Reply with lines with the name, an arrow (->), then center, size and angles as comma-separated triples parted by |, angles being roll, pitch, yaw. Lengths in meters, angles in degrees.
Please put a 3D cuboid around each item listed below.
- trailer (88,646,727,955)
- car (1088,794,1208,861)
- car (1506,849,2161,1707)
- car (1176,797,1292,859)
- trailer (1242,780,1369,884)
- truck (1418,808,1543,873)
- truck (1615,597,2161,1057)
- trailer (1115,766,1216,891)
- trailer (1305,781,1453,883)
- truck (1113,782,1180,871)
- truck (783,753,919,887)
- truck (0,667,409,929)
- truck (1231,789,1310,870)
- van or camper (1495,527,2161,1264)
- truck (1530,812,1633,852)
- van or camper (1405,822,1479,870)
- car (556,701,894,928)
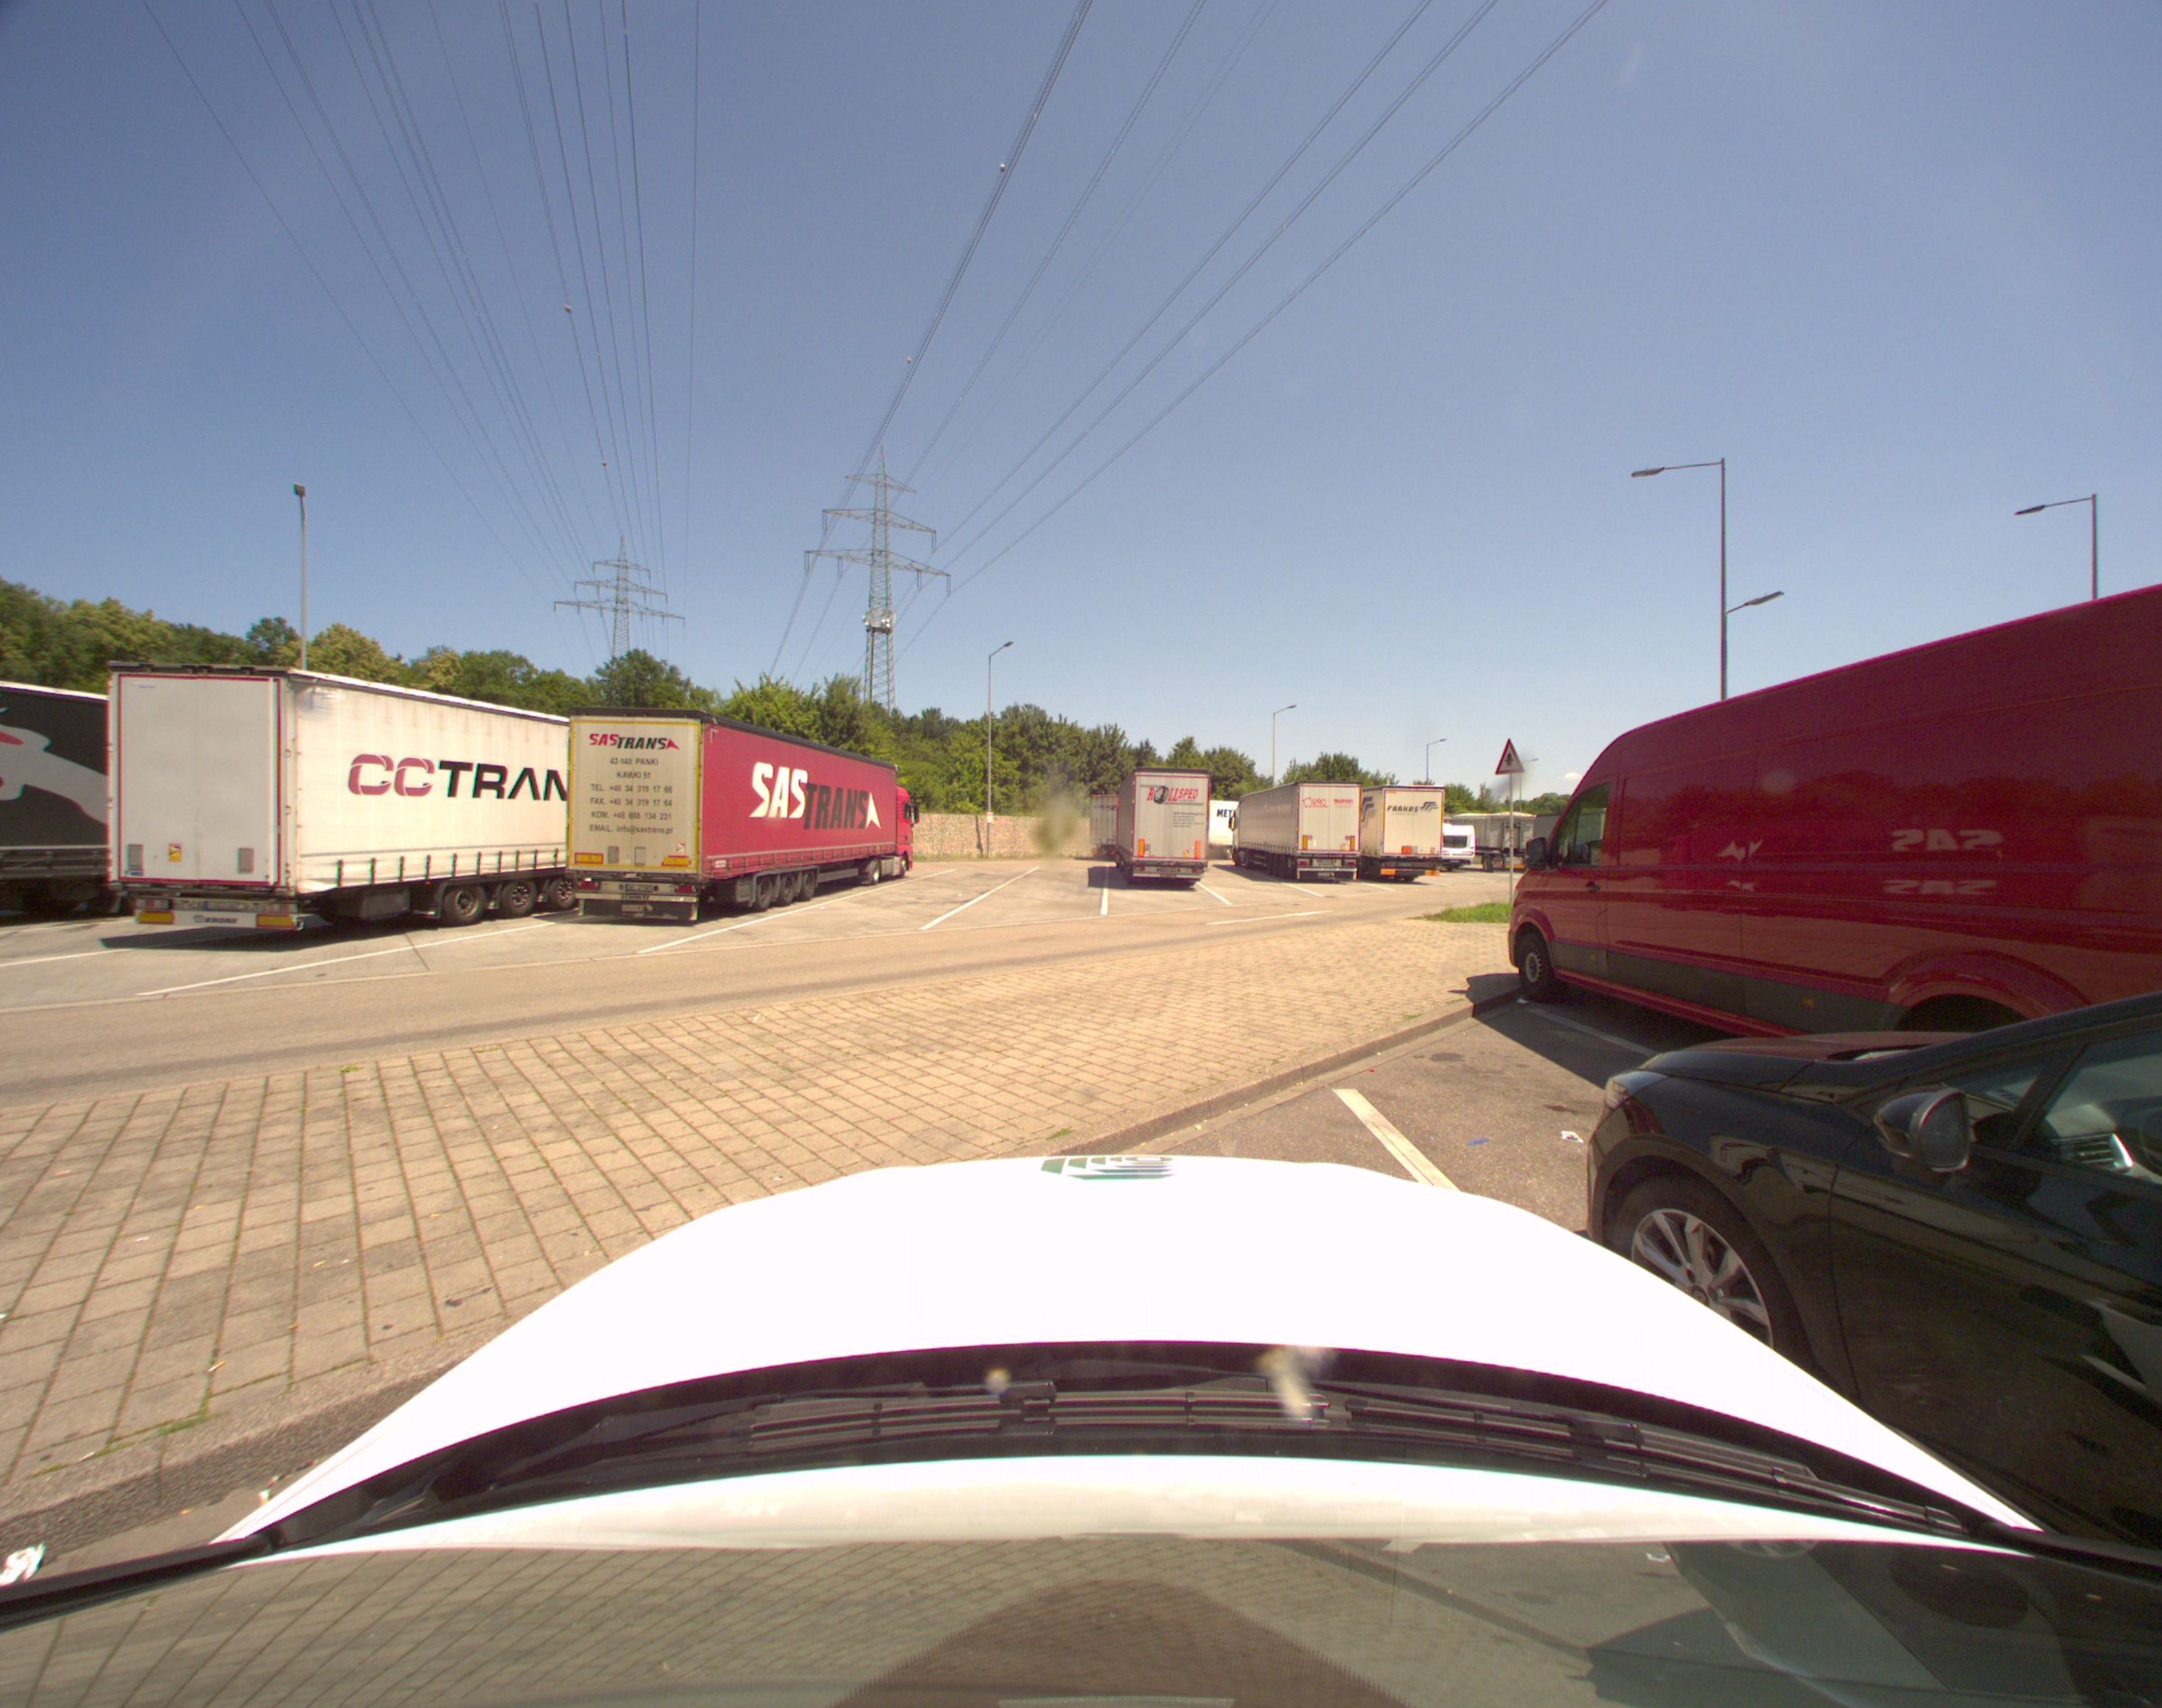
trailer -> -12.158, -0.976, 17.788 | 2.803, 4.266, 12.947 | 0, 2, 2
car -> 4.504, -1.716, 52.871 | 8.515, 4.043, 2.656 | -1, 3, -43
car -> 2.459, 0.759, 1.140 | 1.612, 1.483, 3.762 | -1, 1, -4
car -> 11.321, -1.879, 59.301 | 10.274, 4.188, 2.656 | -1, 3, -43
trailer -> 9.959, -1.100, 37.900 | 2.856, 4.037, 12.445 | 1, 2, 2
truck -> 24.305, -0.951, 50.499 | 2.478, 3.568, 11.429 | 1, 2, 2
truck -> 7.944, -0.206, 7.063 | 2.455, 2.792, 6.978 | 0, 1, 4
trailer -> 3.051, -1.101, 33.728 | 2.857, 4.037, 14.244 | 0, 2, 1
trailer -> 13.647, -1.119, 38.876 | 2.856, 4.037, 12.445 | 1, 2, 2
truck -> 3.144, -1.391, 40.816 | 2.857, 4.037, 7.029 | 0, 2, 1
truck -> -7.744, -1.153, 28.348 | 2.686, 4.112, 6.243 | 1, 2, 2
truck -> -18.613, -1.024, 16.269 | 2.803, 4.190, 8.793 | 0, 2, 2
truck -> 10.185, -1.364, 44.532 | 2.856, 4.037, 6.960 | 1, 2, 2
van or camper -> 5.143, 0.104, 5.491 | 1.986, 2.654, 6.490 | -1, 1, 6
truck -> 38.040, -1.635, 62.377 | 2.117, 2.820, 9.783 | -1, 1, 2
van or camper -> 20.596, -0.460, 46.740 | 2.096, 2.561, 5.376 | -1, 1, 3
car -> -8.044, -0.934, 21.432 | 2.686, 4.112, 12.943 | 1, 2, 2
